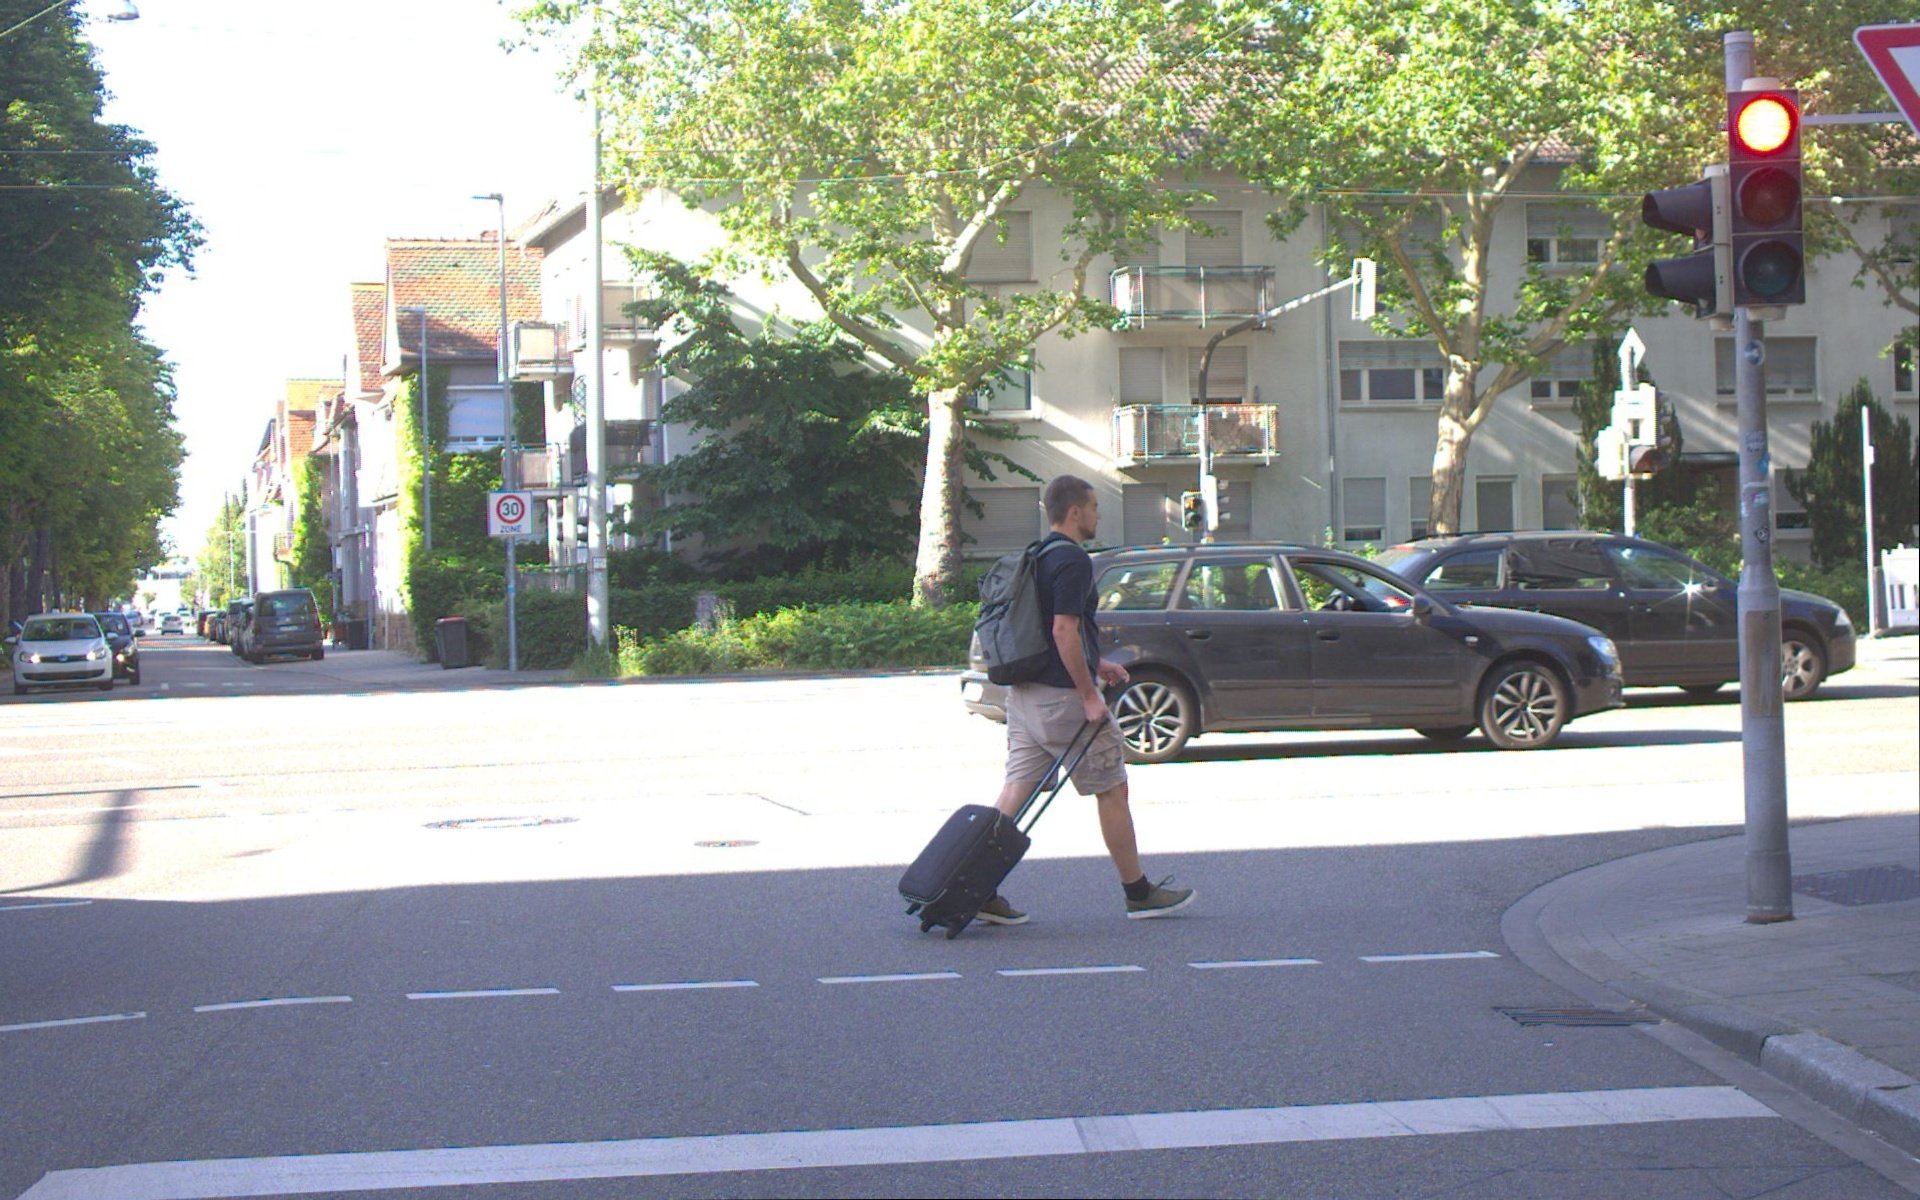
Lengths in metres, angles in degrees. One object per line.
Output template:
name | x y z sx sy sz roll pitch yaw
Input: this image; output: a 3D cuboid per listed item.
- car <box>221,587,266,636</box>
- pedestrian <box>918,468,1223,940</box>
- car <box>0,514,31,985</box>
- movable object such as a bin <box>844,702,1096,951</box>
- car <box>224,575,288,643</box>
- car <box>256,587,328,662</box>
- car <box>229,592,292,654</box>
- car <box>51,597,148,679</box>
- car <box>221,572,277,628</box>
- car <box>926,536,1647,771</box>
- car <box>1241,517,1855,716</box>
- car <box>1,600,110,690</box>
car | -30.524 0.480 146.444 1.772 1.912 3.535 -3 1 -12
pedestrian | 0.435 0.398 13.927 1.065 1.842 0.749 -1 1 -13
car | -5.880 0.652 13.151 4.704 1.688 2.075 -2 3 40
movable object such as a bin | 0.033 0.869 13.359 0.861 0.889 0.509 -2 1 -13
car | -21.448 0.262 104.648 1.772 1.912 3.535 -3 1 -12
car | -18.385 0.654 94.533 1.772 1.912 3.535 -3 1 -12
car | -23.527 0.752 115.675 1.993 2.007 4.001 1 1 -11
car | -17.339 0.744 69.402 1.698 1.478 3.535 -3 1 -12
car | -26.436 -0.012 127.917 1.993 2.007 4.001 1 1 -11
car | 2.210 0.332 23.673 4.616 1.451 1.731 -1 1 -11
car | 4.875 0.109 28.739 4.616 1.451 1.982 -2 1 -13
car | -16.644 0.811 63.362 1.698 1.478 3.535 -3 1 -12
